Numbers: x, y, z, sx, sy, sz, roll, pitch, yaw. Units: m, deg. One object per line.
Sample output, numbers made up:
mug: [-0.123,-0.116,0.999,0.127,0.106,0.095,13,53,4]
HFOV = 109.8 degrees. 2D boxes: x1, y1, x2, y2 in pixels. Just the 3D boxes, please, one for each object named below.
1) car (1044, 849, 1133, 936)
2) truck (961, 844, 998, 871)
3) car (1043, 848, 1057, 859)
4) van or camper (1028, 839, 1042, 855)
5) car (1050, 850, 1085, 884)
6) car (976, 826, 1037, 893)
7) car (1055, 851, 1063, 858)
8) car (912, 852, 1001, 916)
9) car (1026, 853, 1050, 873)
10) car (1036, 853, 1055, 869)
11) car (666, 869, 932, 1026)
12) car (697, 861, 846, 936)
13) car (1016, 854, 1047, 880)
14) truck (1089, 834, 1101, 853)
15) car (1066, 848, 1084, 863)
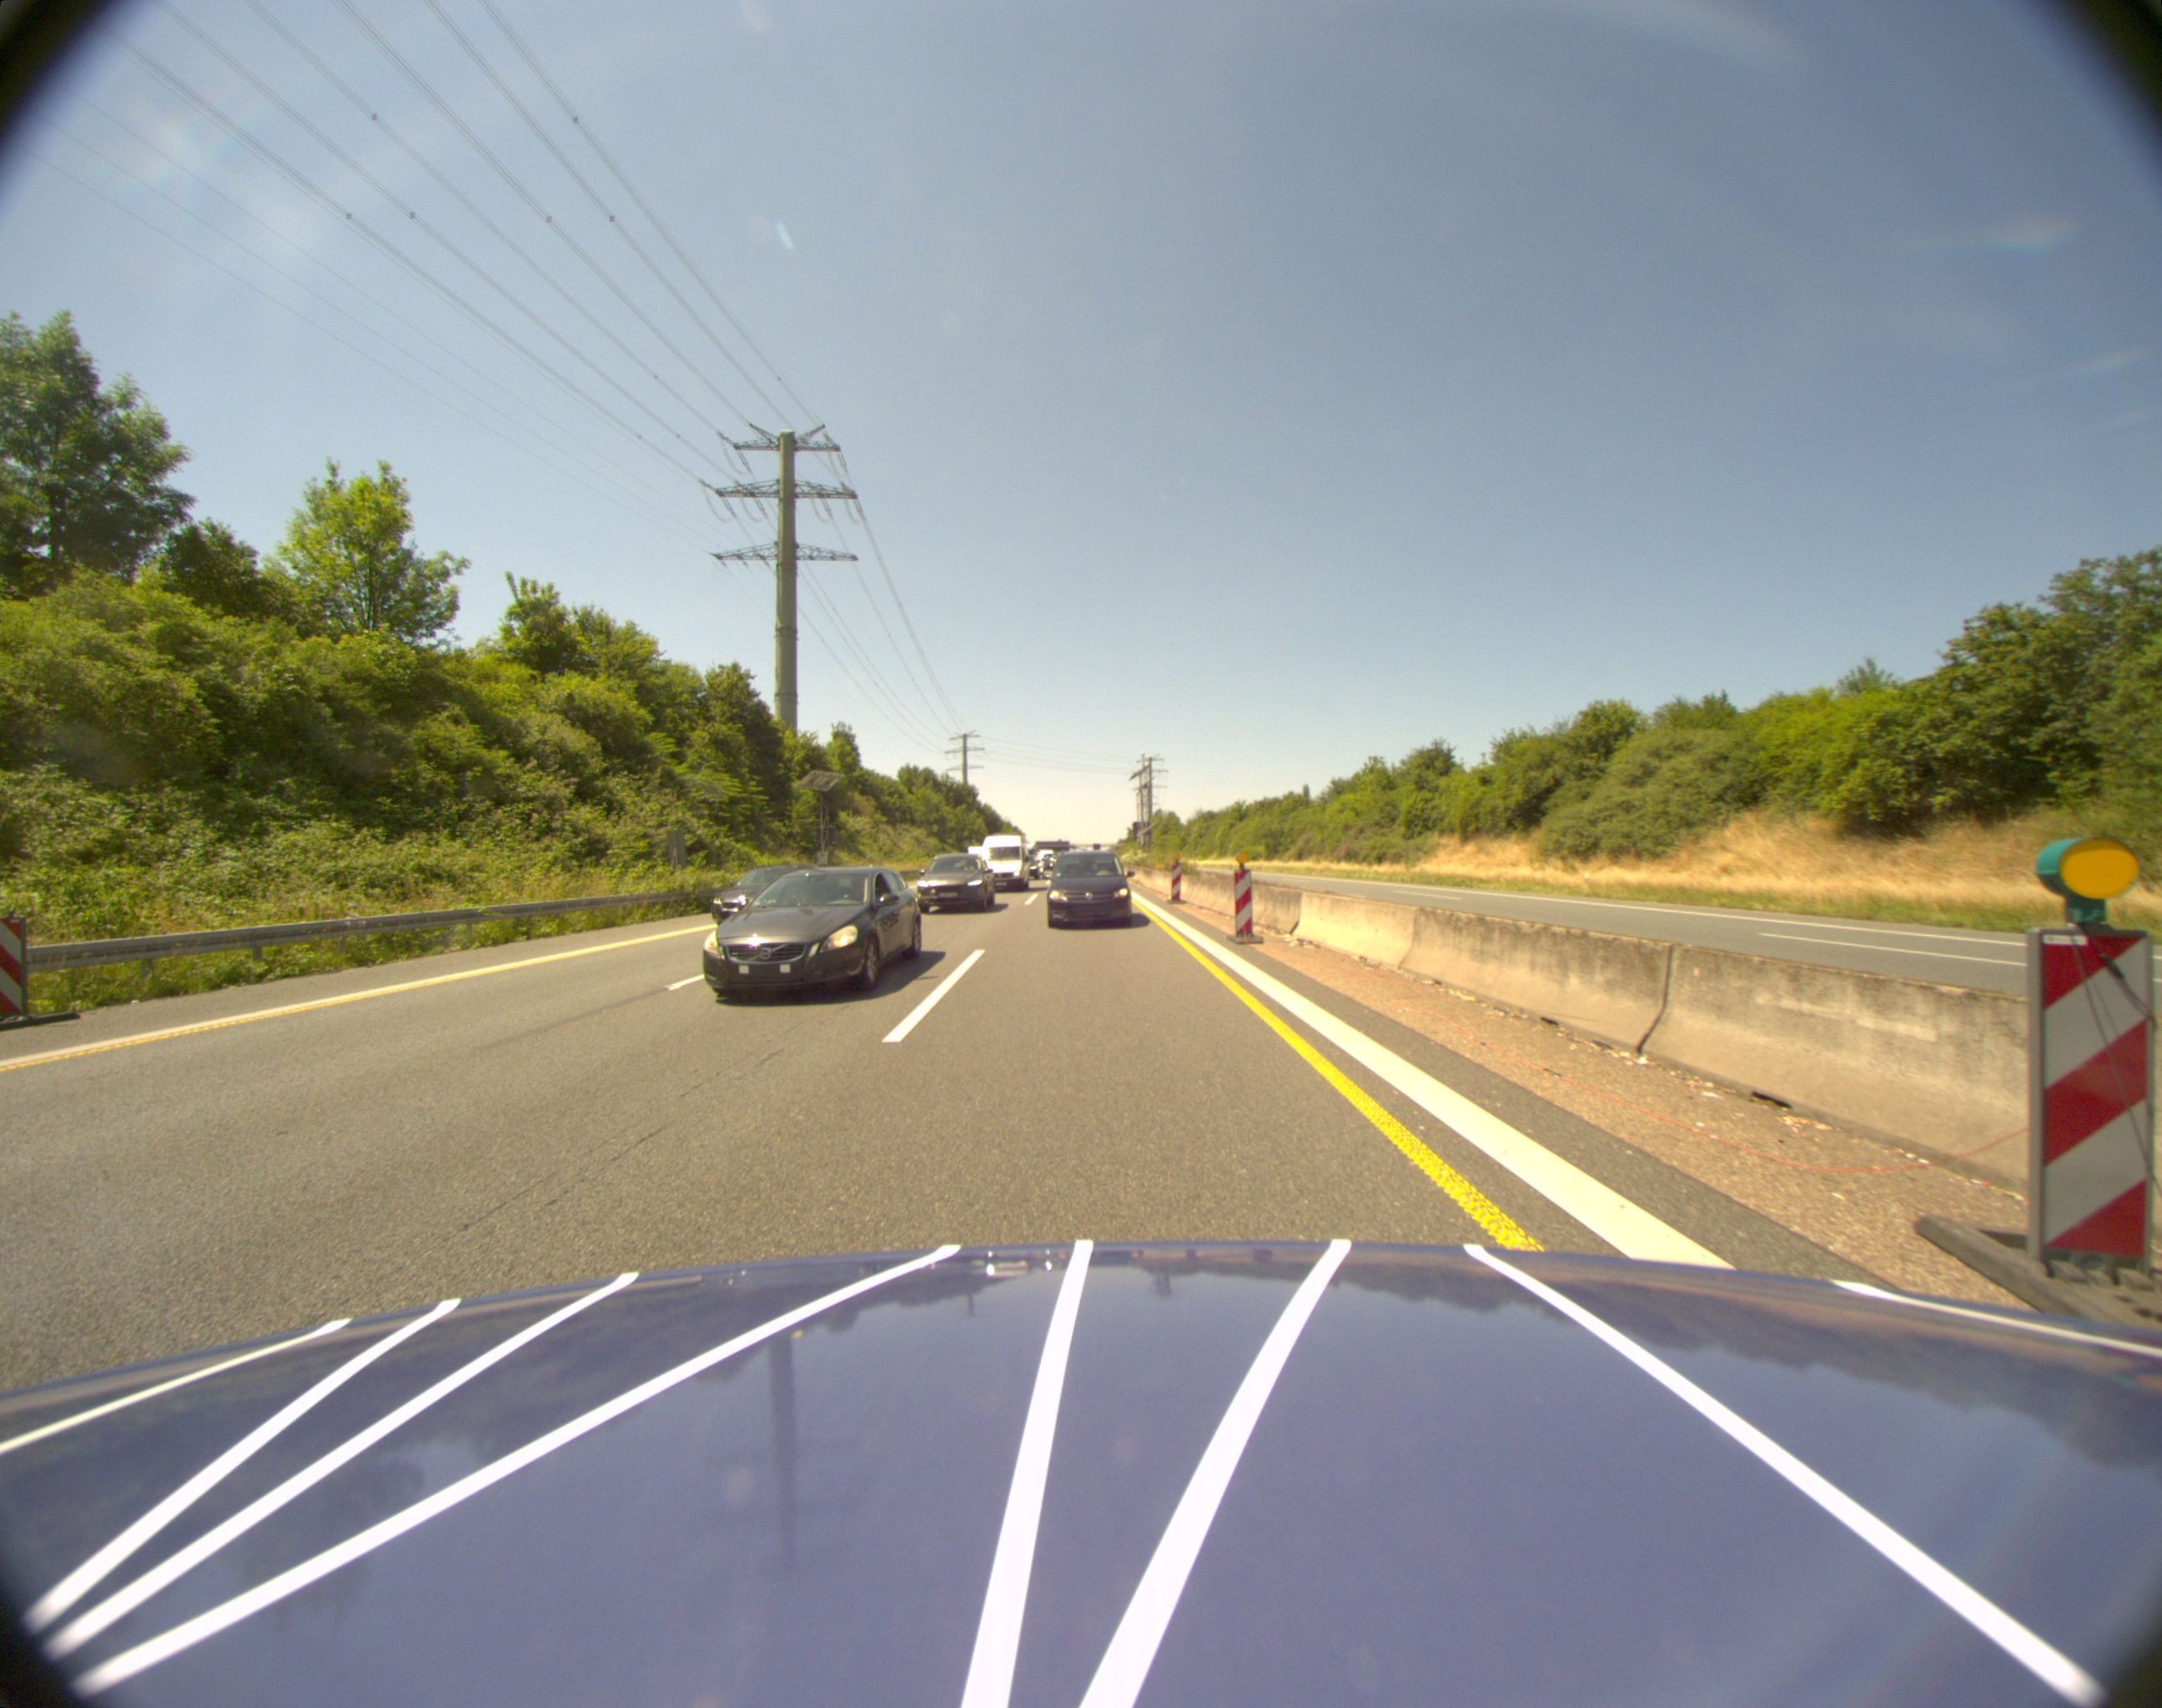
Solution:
car: [0.143,0.744,17.078,1.700,1.641,4.219,-2,1,0]
truck: [-8.597,0.270,64.983,2.253,2.155,5.728,-2,1,0]
car: [-4.362,-0.128,107.447,1.720,1.510,3.873,-2,1,0]
van or camper: [-7.873,-1.196,130.089,1.979,2.511,4.369,-2,1,0]
car: [-0.680,0.637,39.774,1.700,1.641,4.219,-2,1,0]
car: [-3.306,0.179,34.921,2.042,2.703,6.705,-2,1,0]
car: [-5.048,0.131,177.145,1.720,1.510,3.873,-2,1,0]
car: [-3.540,0.808,22.362,1.893,1.602,4.219,-2,1,0]
car: [-3.602,0.730,64.566,1.720,1.510,3.873,-2,1,0]
car: [-3.715,0.725,80.624,1.720,1.510,3.873,-2,1,0]
car: [-3.329,1.005,10.048,1.799,1.411,4.509,-2,1,0]
car: [-7.702,1.023,19.502,1.796,1.503,4.853,-2,1,0]
car: [-3.233,0.816,50.216,1.720,1.510,3.873,-2,1,0]
truck: [2.409,-1.848,133.265,1.892,3.263,5.590,-2,1,0]
car: [-0.685,0.178,91.910,1.973,1.682,3.873,-2,1,0]
